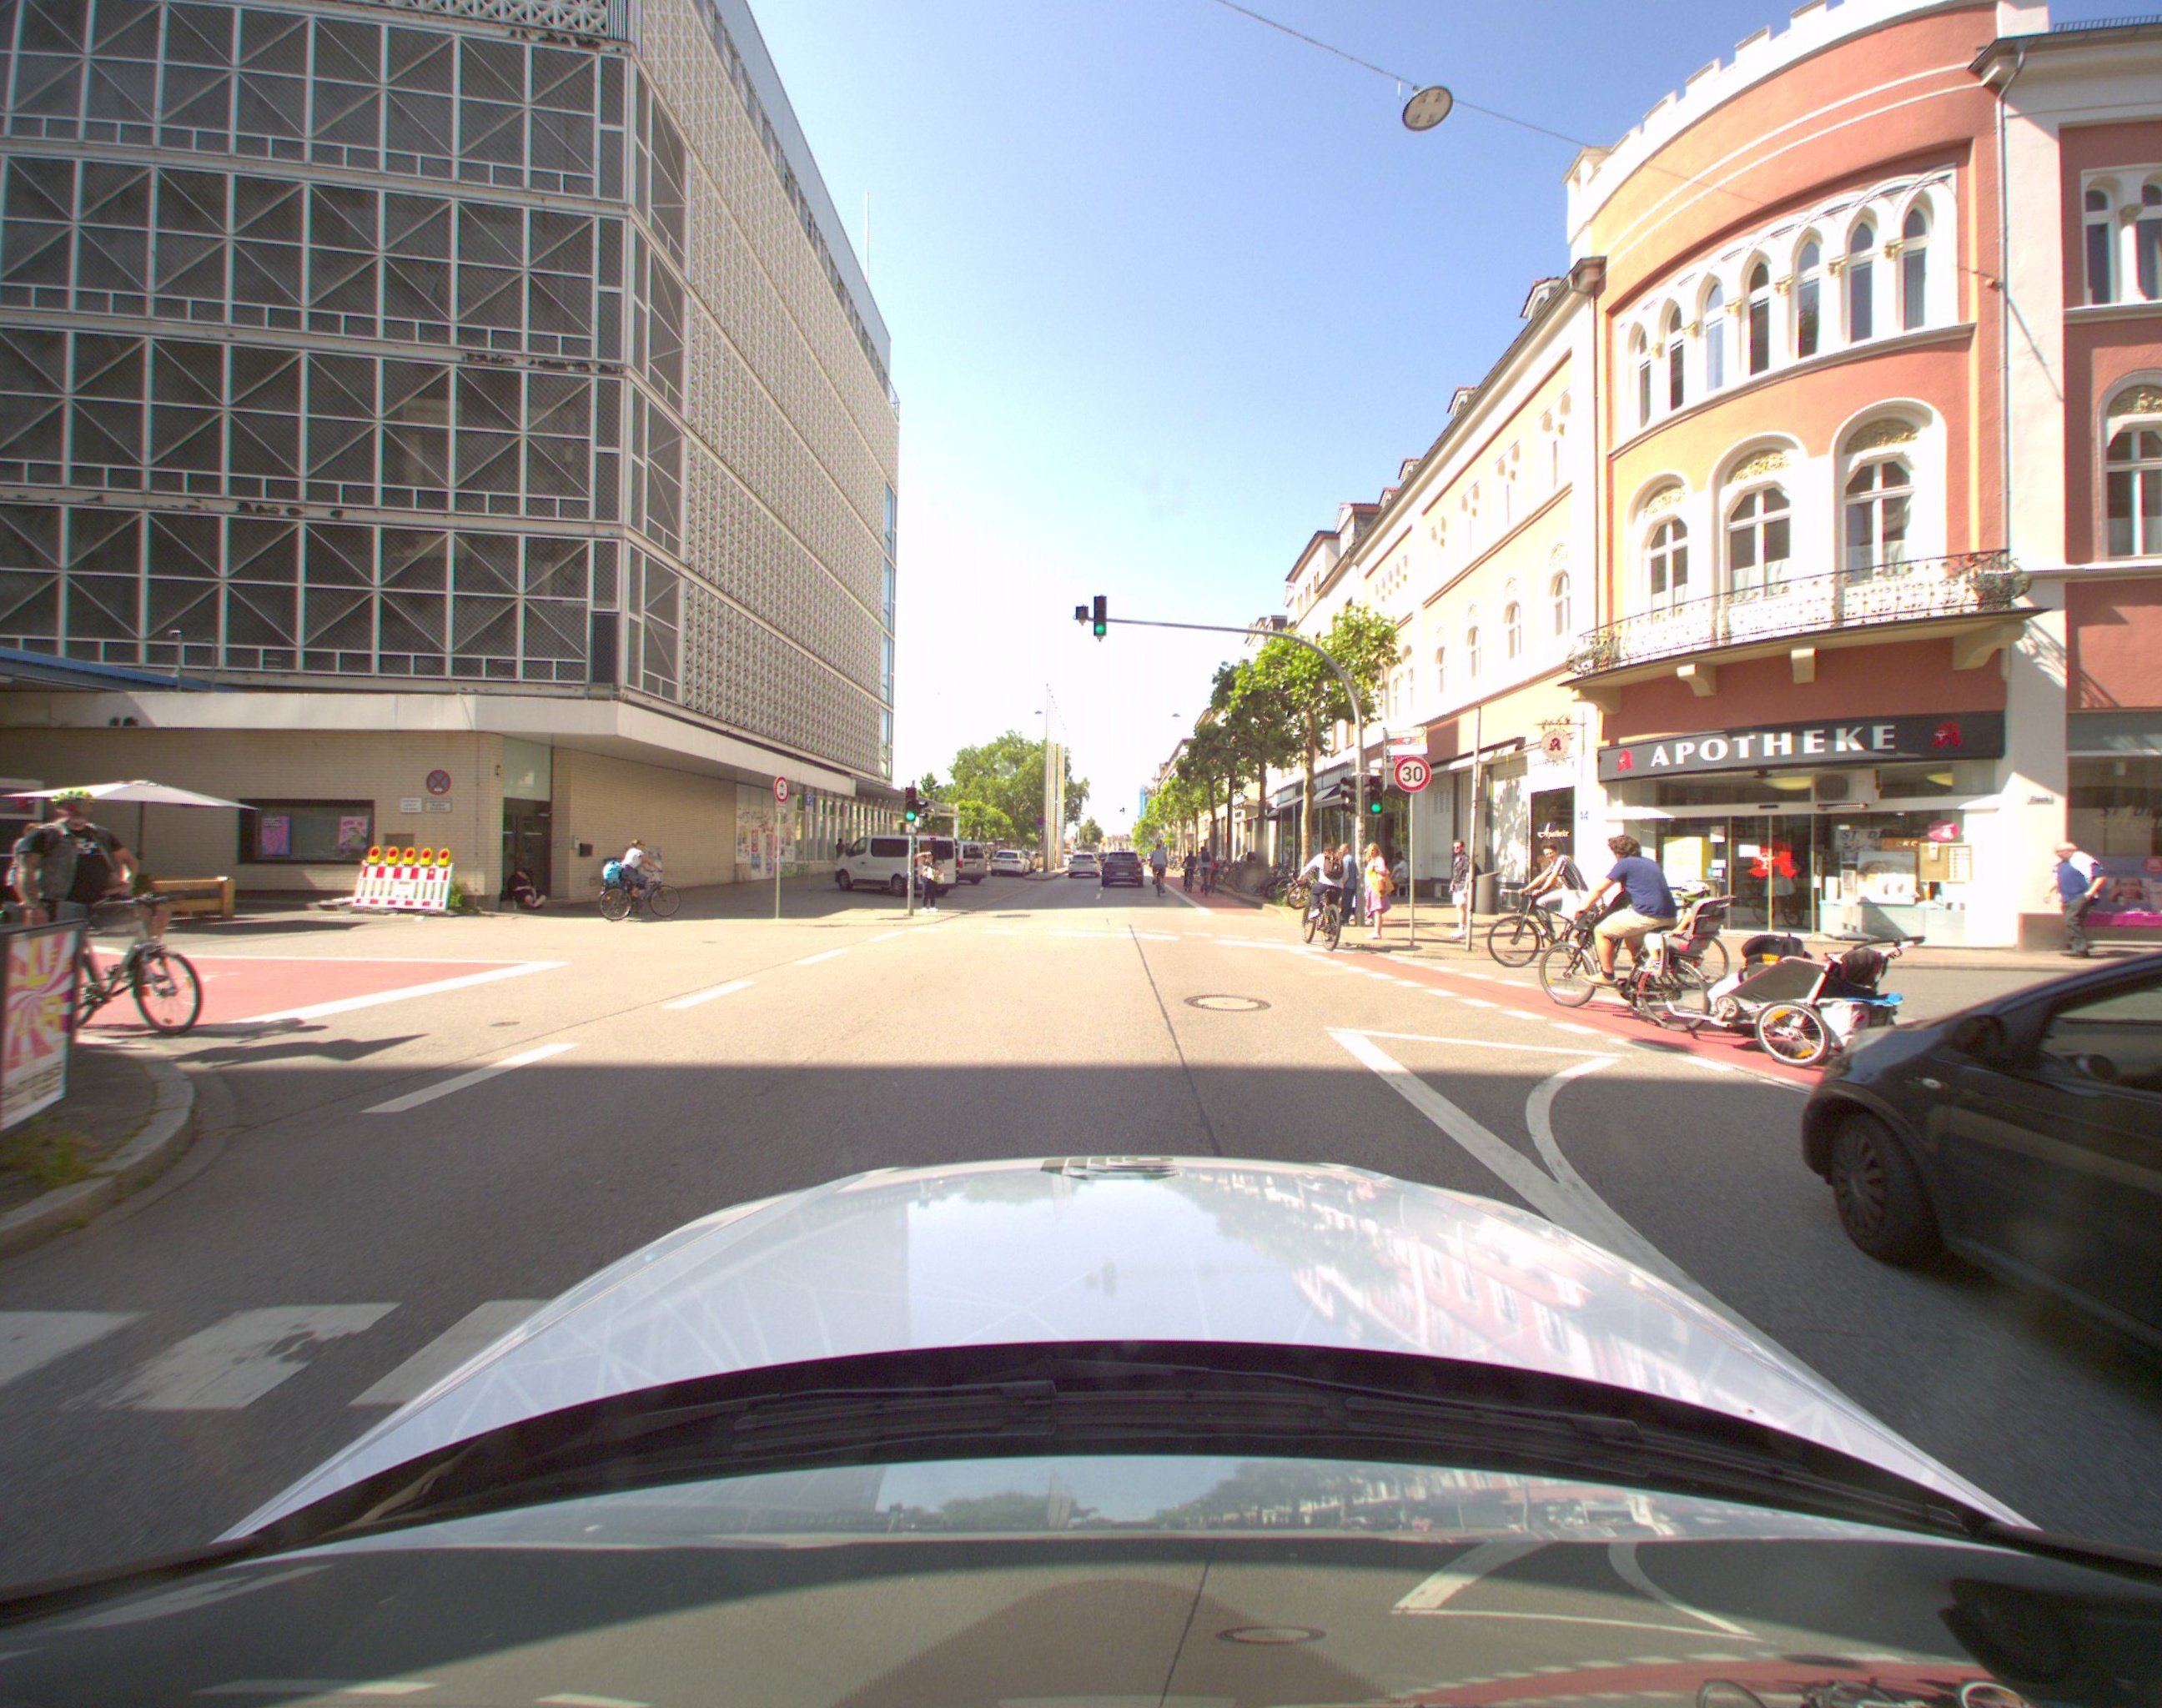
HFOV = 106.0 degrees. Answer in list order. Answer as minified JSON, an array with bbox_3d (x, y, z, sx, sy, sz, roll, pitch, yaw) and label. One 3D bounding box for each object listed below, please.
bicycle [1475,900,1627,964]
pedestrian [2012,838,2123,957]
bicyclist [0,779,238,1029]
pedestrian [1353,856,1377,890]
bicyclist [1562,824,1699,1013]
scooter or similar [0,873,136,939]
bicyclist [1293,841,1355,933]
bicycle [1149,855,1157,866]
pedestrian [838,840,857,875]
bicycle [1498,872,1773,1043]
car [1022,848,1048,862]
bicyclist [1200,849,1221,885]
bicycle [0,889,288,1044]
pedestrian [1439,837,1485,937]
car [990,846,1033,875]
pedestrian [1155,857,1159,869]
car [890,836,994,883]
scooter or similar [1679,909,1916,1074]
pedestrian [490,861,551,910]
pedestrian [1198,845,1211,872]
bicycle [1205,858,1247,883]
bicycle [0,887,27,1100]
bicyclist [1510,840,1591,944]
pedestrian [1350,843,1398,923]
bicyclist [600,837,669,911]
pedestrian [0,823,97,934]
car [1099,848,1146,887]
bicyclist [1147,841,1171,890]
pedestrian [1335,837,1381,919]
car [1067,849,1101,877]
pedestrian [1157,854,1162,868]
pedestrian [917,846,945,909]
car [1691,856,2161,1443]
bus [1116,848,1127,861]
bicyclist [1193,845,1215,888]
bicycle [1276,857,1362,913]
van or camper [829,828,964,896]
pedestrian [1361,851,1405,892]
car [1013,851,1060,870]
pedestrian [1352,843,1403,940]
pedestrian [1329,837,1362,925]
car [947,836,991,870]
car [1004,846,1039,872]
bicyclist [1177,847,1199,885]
[{"bbox_3d":[6.540,1.074,11.378,1.814,0.844,0.501,0,0,3],"label":"bicycle"},{"bbox_3d":[14.444,0.606,11.953,0.635,1.657,0.793,1,3,13],"label":"pedestrian"},{"bbox_3d":[-8.148,0.388,6.936,0.837,1.960,1.019,0,0,8],"label":"bicyclist"},{"bbox_3d":[10.696,0.702,30.690,0.637,1.253,0.608,-1,-1,0],"label":"pedestrian"},{"bbox_3d":[5.166,0.572,7.693,0.731,1.673,0.771,0,-1,-12],"label":"bicyclist"},{"bbox_3d":[-15.792,0.799,12.730,0.973,0.965,0.896,1,-1,-19],"label":"scooter or similar"},{"bbox_3d":[4.011,0.524,13.488,0.696,1.445,0.960,2,0,-1],"label":"bicyclist"},{"bbox_3d":[6.616,0.612,75.335,0.644,0.998,2.032,1,0,2],"label":"bicycle"},{"bbox_3d":[-10.514,0.146,36.622,0.677,1.559,0.640,0,0,-3],"label":"pedestrian"},{"bbox_3d":[5.129,0.874,7.790,0.732,1.268,2.273,1,1,-12],"label":"bicycle"},{"bbox_3d":[-6.742,0.164,120.305,1.843,1.955,4.787,0,-1,23],"label":"car"},{"bbox_3d":[5.018,0.521,31.585,0.598,1.358,0.720,-3,-1,-1],"label":"bicyclist"},{"bbox_3d":[-7.955,0.896,6.846,1.975,1.127,0.801,0,1,9],"label":"bicycle"},{"bbox_3d":[7.289,0.617,15.611,0.634,1.843,0.617,2,0,14],"label":"pedestrian"},{"bbox_3d":[-3.943,0.320,46.916,1.792,1.523,4.742,2,1,3],"label":"car"},{"bbox_3d":[9.331,1.129,100.010,0.520,1.521,0.642,-1,-1,5],"label":"pedestrian"},{"bbox_3d":[-6.085,0.195,35.469,4.389,1.909,2.022,1,1,39],"label":"car"},{"bbox_3d":[5.501,1.008,6.322,0.785,1.060,1.119,2,0,-16],"label":"scooter or similar"},{"bbox_3d":[-12.903,0.718,18.768,0.719,1.057,0.841,4,0,0],"label":"pedestrian"},{"bbox_3d":[7.794,0.286,51.456,0.637,1.689,0.843,3,1,0],"label":"pedestrian"},{"bbox_3d":[6.711,0.751,37.774,1.833,1.093,0.565,2,0,2],"label":"bicycle"},{"bbox_3d":[-5.790,0.784,3.863,0.608,1.173,2.039,2,-1,-43],"label":"bicycle"},{"bbox_3d":[6.550,0.520,11.385,0.855,1.411,0.501,0,0,3],"label":"bicyclist"},{"bbox_3d":[6.336,0.614,17.656,0.785,1.690,0.641,1,0,0],"label":"pedestrian"},{"bbox_3d":[-9.663,0.415,17.642,0.726,1.539,1.084,0,1,33],"label":"bicyclist"},{"bbox_3d":[-16.167,0.361,12.606,0.844,1.658,0.836,1,1,-17],"label":"pedestrian"},{"bbox_3d":[1.762,0.546,35.576,1.839,1.559,4.000,0,0,0],"label":"car"},{"bbox_3d":[2.665,0.382,27.887,0.771,1.635,0.852,0,0,2],"label":"bicyclist"},{"bbox_3d":[6.256,0.525,18.426,0.785,1.795,0.641,2,0,0],"label":"pedestrian"},{"bbox_3d":[0.223,0.521,47.739,1.838,1.560,4.003,0,0,3],"label":"car"},{"bbox_3d":[9.419,0.862,97.635,0.546,1.631,0.590,-1,-1,5],"label":"pedestrian"},{"bbox_3d":[-3.798,0.588,20.641,0.639,1.559,0.679,2,0,-10],"label":"pedestrian"},{"bbox_3d":[3.597,0.766,2.240,1.618,1.478,3.742,1,-1,11],"label":"car"},{"bbox_3d":[12.251,0.218,245.548,2.983,3.594,11.749,1,-1,2],"label":"bus"},{"bbox_3d":[4.279,0.422,28.354,0.628,1.481,1.199,0,0,2],"label":"bicyclist"},{"bbox_3d":[5.809,0.733,19.962,1.833,1.188,0.721,5,4,40],"label":"bicycle"},{"bbox_3d":[-6.219,0.206,27.184,4.602,2.013,2.012,3,1,42],"label":"van or camper"},{"bbox_3d":[10.561,0.600,28.512,1.229,1.422,0.789,0,-1,-1],"label":"pedestrian"},{"bbox_3d":[-3.985,0.522,73.937,1.873,1.541,4.892,2,2,29],"label":"car"},{"bbox_3d":[5.414,0.680,14.902,0.637,1.709,0.789,0,-2,-1],"label":"pedestrian"},{"bbox_3d":[5.570,0.557,17.176,0.451,1.795,0.608,2,0,0],"label":"pedestrian"},{"bbox_3d":[-6.898,-0.062,50.486,1.825,2.013,4.688,1,0,3],"label":"car"},{"bbox_3d":[-3.794,0.281,52.716,1.754,1.600,4.711,1,0,1],"label":"car"},{"bbox_3d":[4.128,0.452,31.565,0.696,1.440,0.790,2,0,-1],"label":"bicyclist"}]
